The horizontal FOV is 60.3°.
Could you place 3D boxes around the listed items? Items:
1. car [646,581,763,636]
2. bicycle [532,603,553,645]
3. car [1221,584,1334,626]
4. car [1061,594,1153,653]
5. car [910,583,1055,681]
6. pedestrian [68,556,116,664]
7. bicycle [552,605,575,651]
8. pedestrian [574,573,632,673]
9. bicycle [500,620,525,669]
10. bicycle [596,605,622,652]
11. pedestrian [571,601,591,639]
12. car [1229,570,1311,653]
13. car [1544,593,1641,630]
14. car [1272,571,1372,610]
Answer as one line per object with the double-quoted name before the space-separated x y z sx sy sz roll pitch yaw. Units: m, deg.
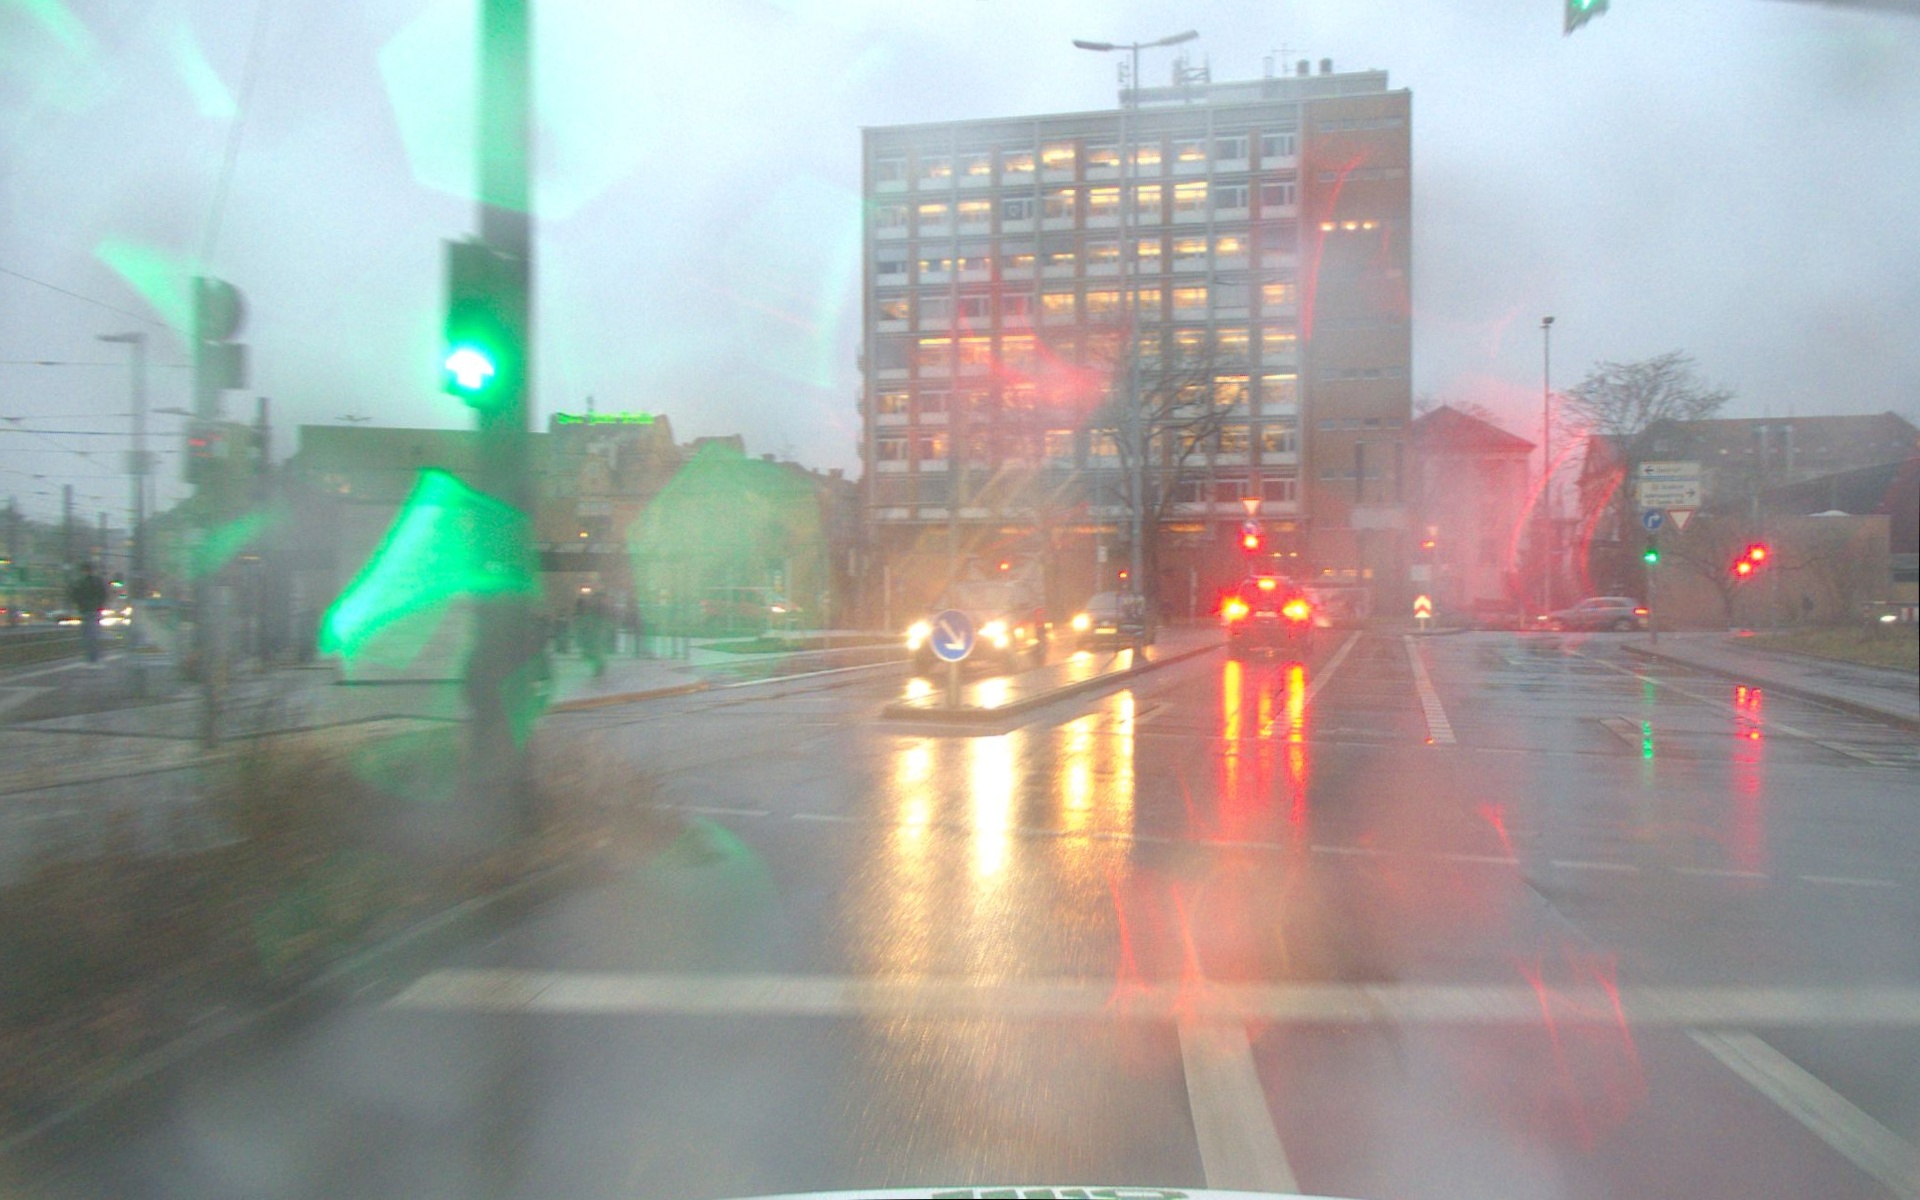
"car" -11.546 0.385 74.686 4.930 2.321 2.253 1 -1 32
"bicycle" -12.178 0.697 48.180 0.539 1.185 1.891 2 -1 -14
"car" 15.596 0.226 81.373 5.060 1.946 1.995 1 0 31
"car" 3.921 0.591 43.494 1.709 1.402 4.370 -1 0 14
"car" 0.509 0.539 31.171 1.717 1.691 4.534 -1 0 14
"pedestrian" -15.109 0.174 28.804 0.594 1.845 0.820 2 -1 -22
"bicycle" -10.475 0.730 43.657 0.539 1.185 1.891 2 -1 -14
"pedestrian" -6.238 0.398 28.905 0.659 1.703 0.730 1 -1 18
"bicycle" -11.269 1.115 41.672 0.539 1.185 1.891 2 -1 -14
"bicycle" -9.181 0.743 43.223 0.539 1.185 1.891 2 -1 -14
"pedestrian" -17.756 0.936 77.501 0.453 1.726 0.792 1 -2 38
"car" 7.442 0.235 39.478 1.612 1.850 4.003 1 1 15
"car" 28.430 0.507 74.357 3.844 1.511 1.466 1 -1 31
"car" 21.085 -0.550 96.298 5.433 2.060 2.000 1 -1 21
